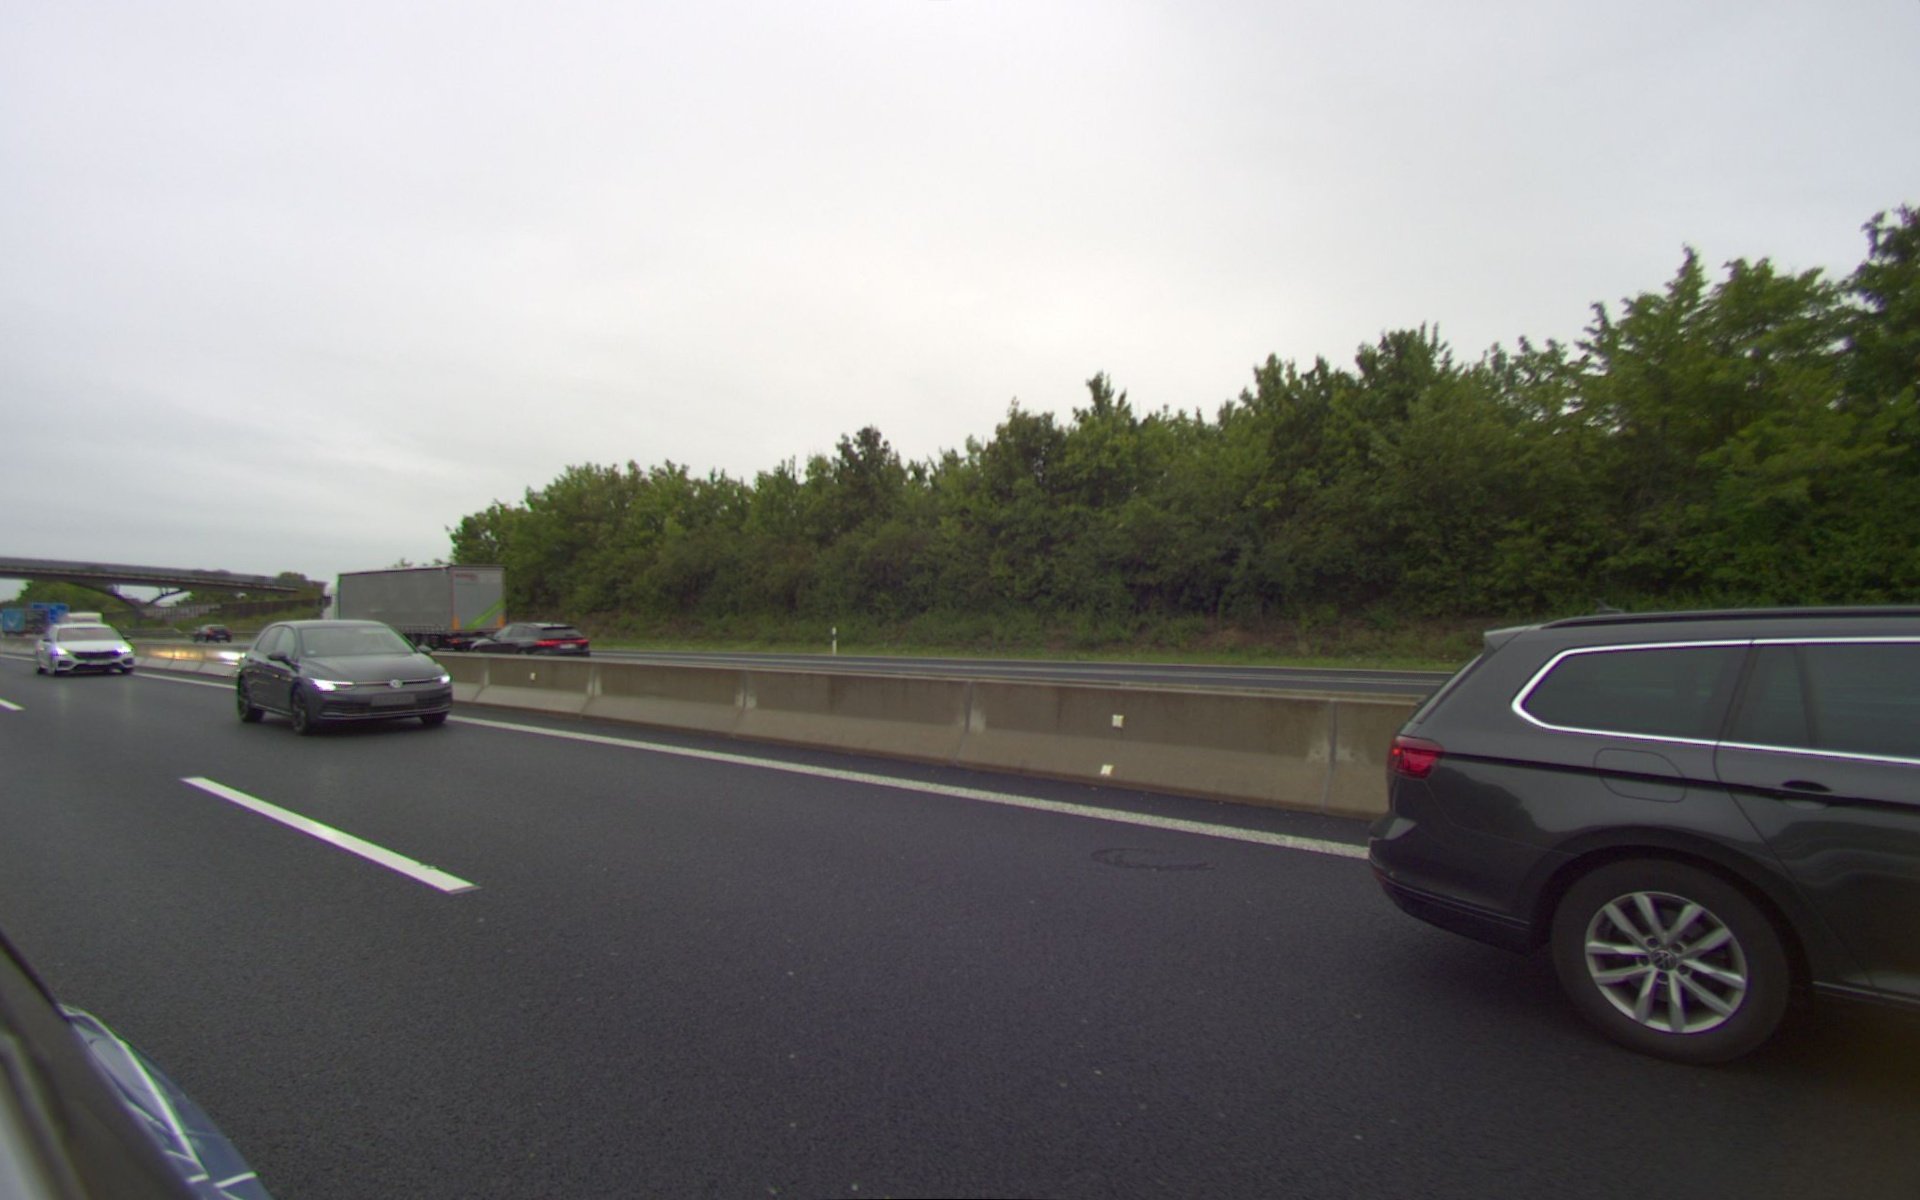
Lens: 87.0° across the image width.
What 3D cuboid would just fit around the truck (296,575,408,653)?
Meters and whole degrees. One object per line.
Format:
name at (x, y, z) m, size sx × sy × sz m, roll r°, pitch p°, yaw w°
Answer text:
truck at (-34.101, 0.821, 56.663) m, size 7.436 × 4.114 × 3.226 m, roll -2°, pitch -2°, yaw 41°

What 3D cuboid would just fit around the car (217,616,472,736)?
car at (-8.780, 0.959, 14.275) m, size 4.458 × 1.416 × 1.880 m, roll -2°, pitch -2°, yaw 42°

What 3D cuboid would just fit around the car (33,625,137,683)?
car at (-25.076, 1.495, 28.962) m, size 4.115 × 1.518 × 1.879 m, roll -2°, pitch -2°, yaw 44°

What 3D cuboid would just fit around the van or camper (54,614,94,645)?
van or camper at (-74.015, 2.478, 84.533) m, size 5.544 × 2.488 × 1.776 m, roll -2°, pitch -2°, yaw 41°

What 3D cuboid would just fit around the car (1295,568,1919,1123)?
car at (3.737, 0.664, 3.022) m, size 4.849 × 1.508 × 1.880 m, roll -1°, pitch -2°, yaw 41°

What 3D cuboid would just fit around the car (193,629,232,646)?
car at (-59.921, 2.993, 81.132) m, size 3.920 × 1.304 × 1.671 m, roll -2°, pitch -2°, yaw 40°

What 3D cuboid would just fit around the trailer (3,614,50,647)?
trailer at (-124.355, 4.055, 134.773) m, size 13.513 × 4.114 × 2.761 m, roll -2°, pitch -2°, yaw 40°

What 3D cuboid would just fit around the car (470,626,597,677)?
car at (-12.879, 1.499, 30.461) m, size 4.378 × 1.416 × 1.880 m, roll -2°, pitch -2°, yaw 42°

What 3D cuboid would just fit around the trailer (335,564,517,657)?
trailer at (-26.888, 0.628, 50.393) m, size 13.837 × 4.114 × 3.226 m, roll -2°, pitch -2°, yaw 41°
